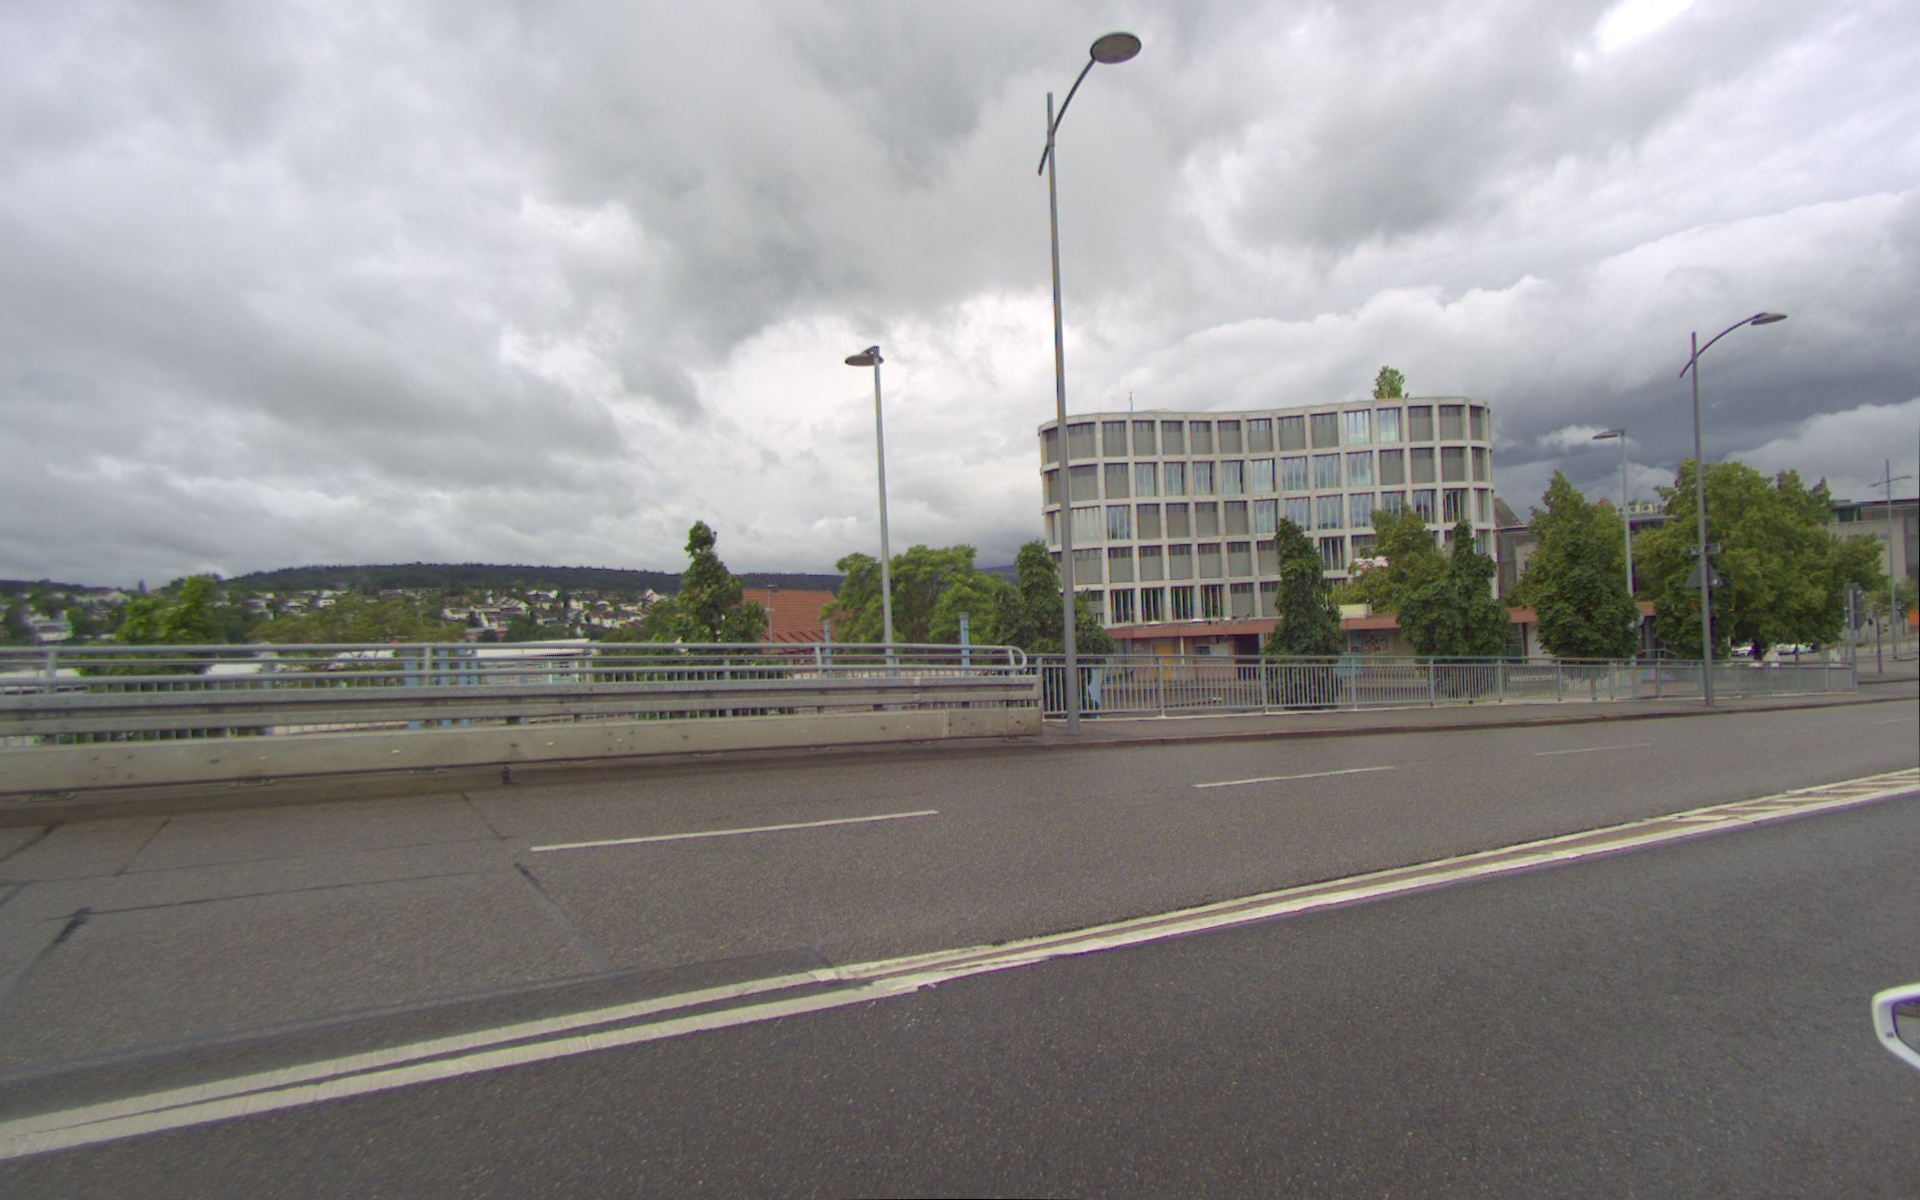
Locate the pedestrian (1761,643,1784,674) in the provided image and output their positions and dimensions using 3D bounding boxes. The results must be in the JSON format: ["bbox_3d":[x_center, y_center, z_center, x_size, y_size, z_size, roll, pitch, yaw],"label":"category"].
[{"bbox_3d":[38.914,2.788,48.111,0.524,1.427,0.646,-1,-1,-27],"label":"pedestrian"}]

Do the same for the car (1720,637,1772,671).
[{"bbox_3d":[57.275,3.902,73.302,1.962,2.041,3.997,3,2,24],"label":"car"}]

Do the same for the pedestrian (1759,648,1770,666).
[{"bbox_3d":[38.718,2.735,48.337,0.294,0.885,0.300,-1,-1,-27],"label":"pedestrian"}]
